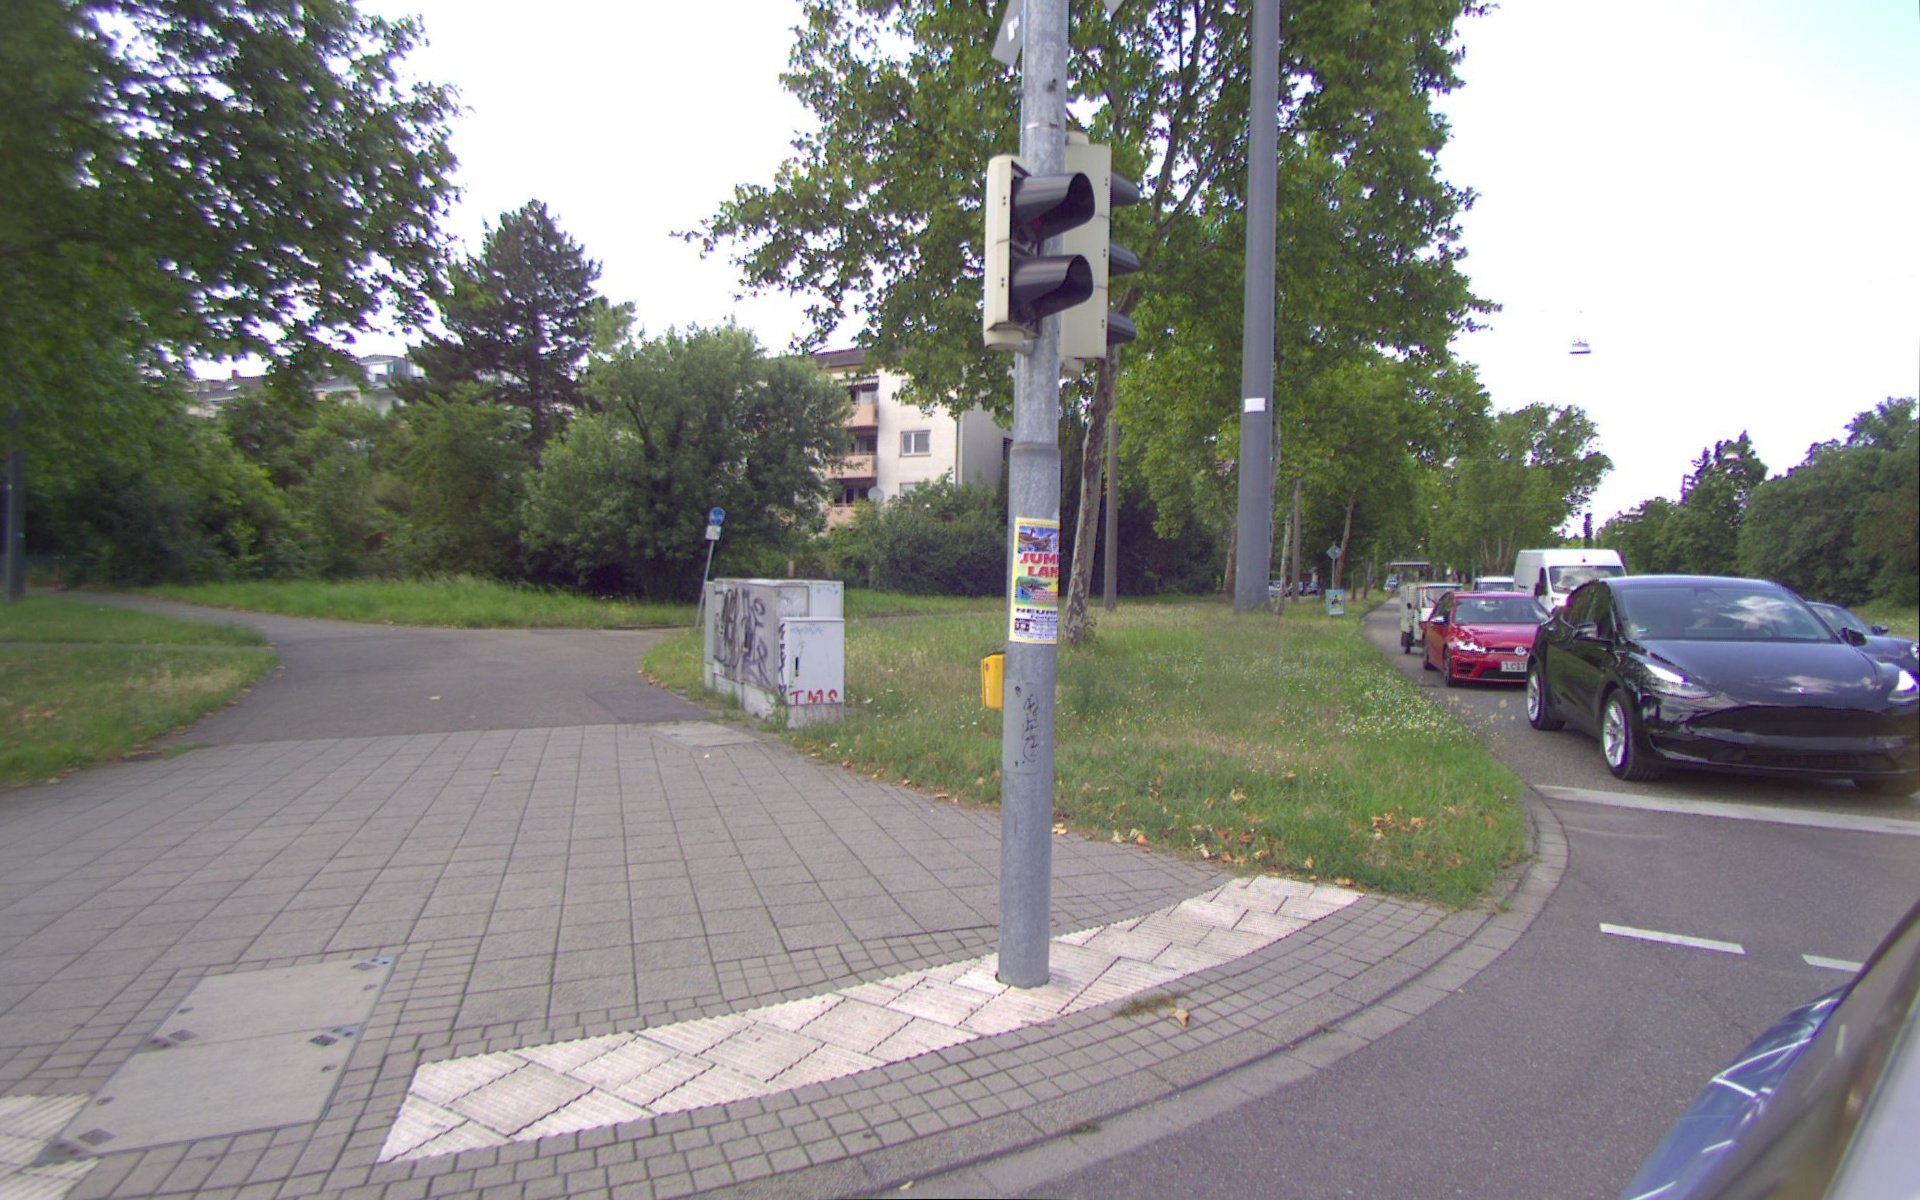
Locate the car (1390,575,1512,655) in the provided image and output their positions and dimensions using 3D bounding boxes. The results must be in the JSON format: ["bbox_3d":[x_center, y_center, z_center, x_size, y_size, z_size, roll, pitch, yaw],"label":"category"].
[{"bbox_3d":[10.787,0.259,22.542,1.778,1.589,4.477,0,1,18],"label":"car"}]

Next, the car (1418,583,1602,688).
[{"bbox_3d":[8.676,0.462,16.369,1.778,1.408,4.477,0,1,18],"label":"car"}]

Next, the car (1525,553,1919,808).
[{"bbox_3d":[6.546,0.475,8.970,1.907,1.672,4.552,0,1,19],"label":"car"}]

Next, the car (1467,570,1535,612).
[{"bbox_3d":[23.023,-0.407,43.214,1.741,1.667,4.320,1,2,17],"label":"car"}]

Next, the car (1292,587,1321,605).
[{"bbox_3d":[34.171,-0.371,99.721,1.764,1.616,3.611,1,0,34],"label":"car"}]

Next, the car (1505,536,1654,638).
[{"bbox_3d":[17.328,-0.391,28.692,2.198,2.561,5.901,0,1,17],"label":"car"}]

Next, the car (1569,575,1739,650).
[{"bbox_3d":[14.407,0.188,21.283,1.741,1.392,4.320,0,1,18],"label":"car"}]

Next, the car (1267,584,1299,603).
[{"bbox_3d":[28.786,-0.564,90.235,1.764,1.616,3.611,1,0,34],"label":"car"}]

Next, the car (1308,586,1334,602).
[{"bbox_3d":[38.010,-0.646,106.535,1.764,1.616,3.611,1,0,34],"label":"car"}]

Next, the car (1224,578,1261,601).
[{"bbox_3d":[21.999,-0.805,78.807,1.764,1.616,3.611,1,0,34],"label":"car"}]

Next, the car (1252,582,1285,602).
[{"bbox_3d":[26.422,-0.646,86.598,1.764,1.616,3.611,1,0,34],"label":"car"}]

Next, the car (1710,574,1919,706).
[{"bbox_3d":[11.990,0.436,13.713,1.781,1.527,3.976,-1,1,19],"label":"car"}]
